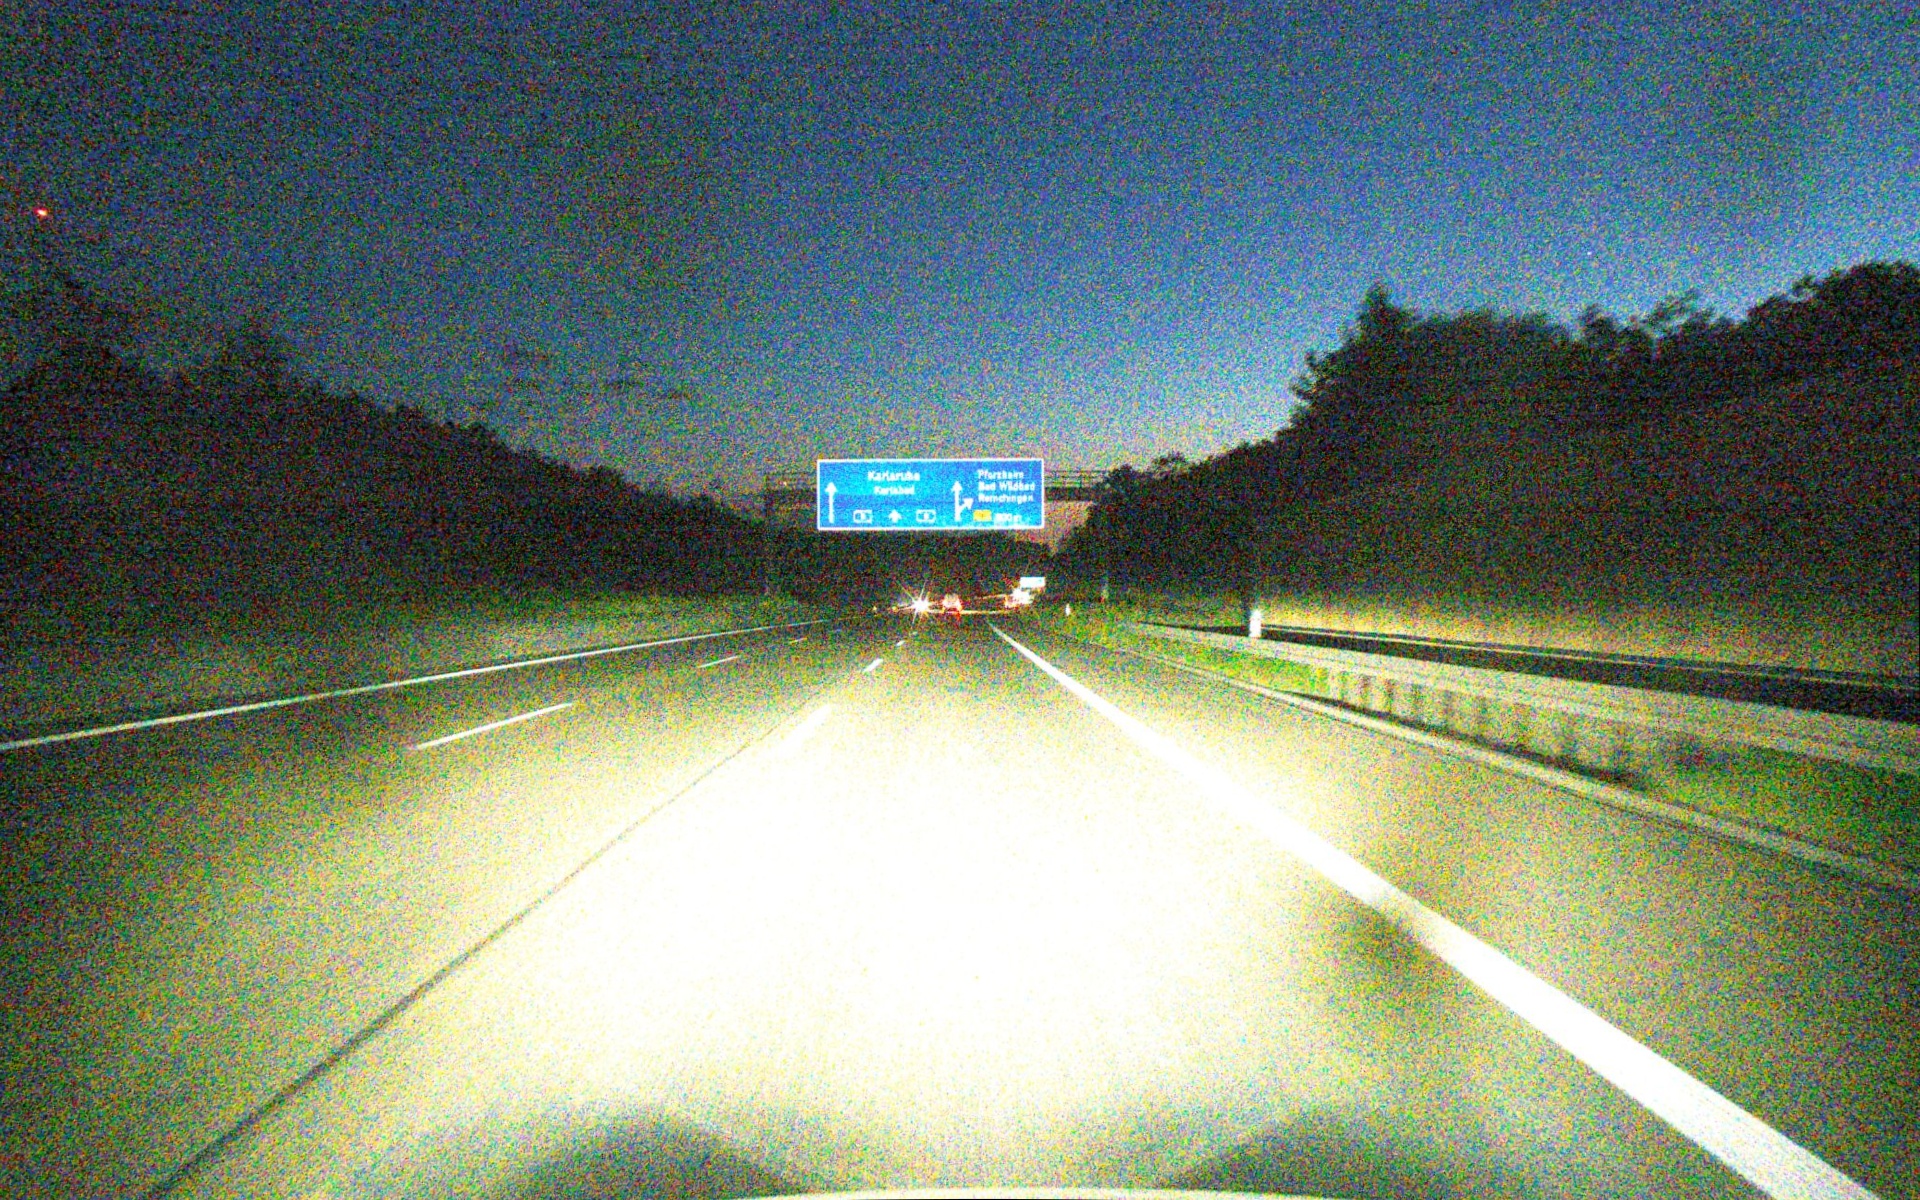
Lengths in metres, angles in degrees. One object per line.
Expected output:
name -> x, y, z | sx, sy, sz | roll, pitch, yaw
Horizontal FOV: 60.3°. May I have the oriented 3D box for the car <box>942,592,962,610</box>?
car -> -1.071, 0.171, 223.620 | 2.458, 2.354, 4.972 | 0, -1, 3
